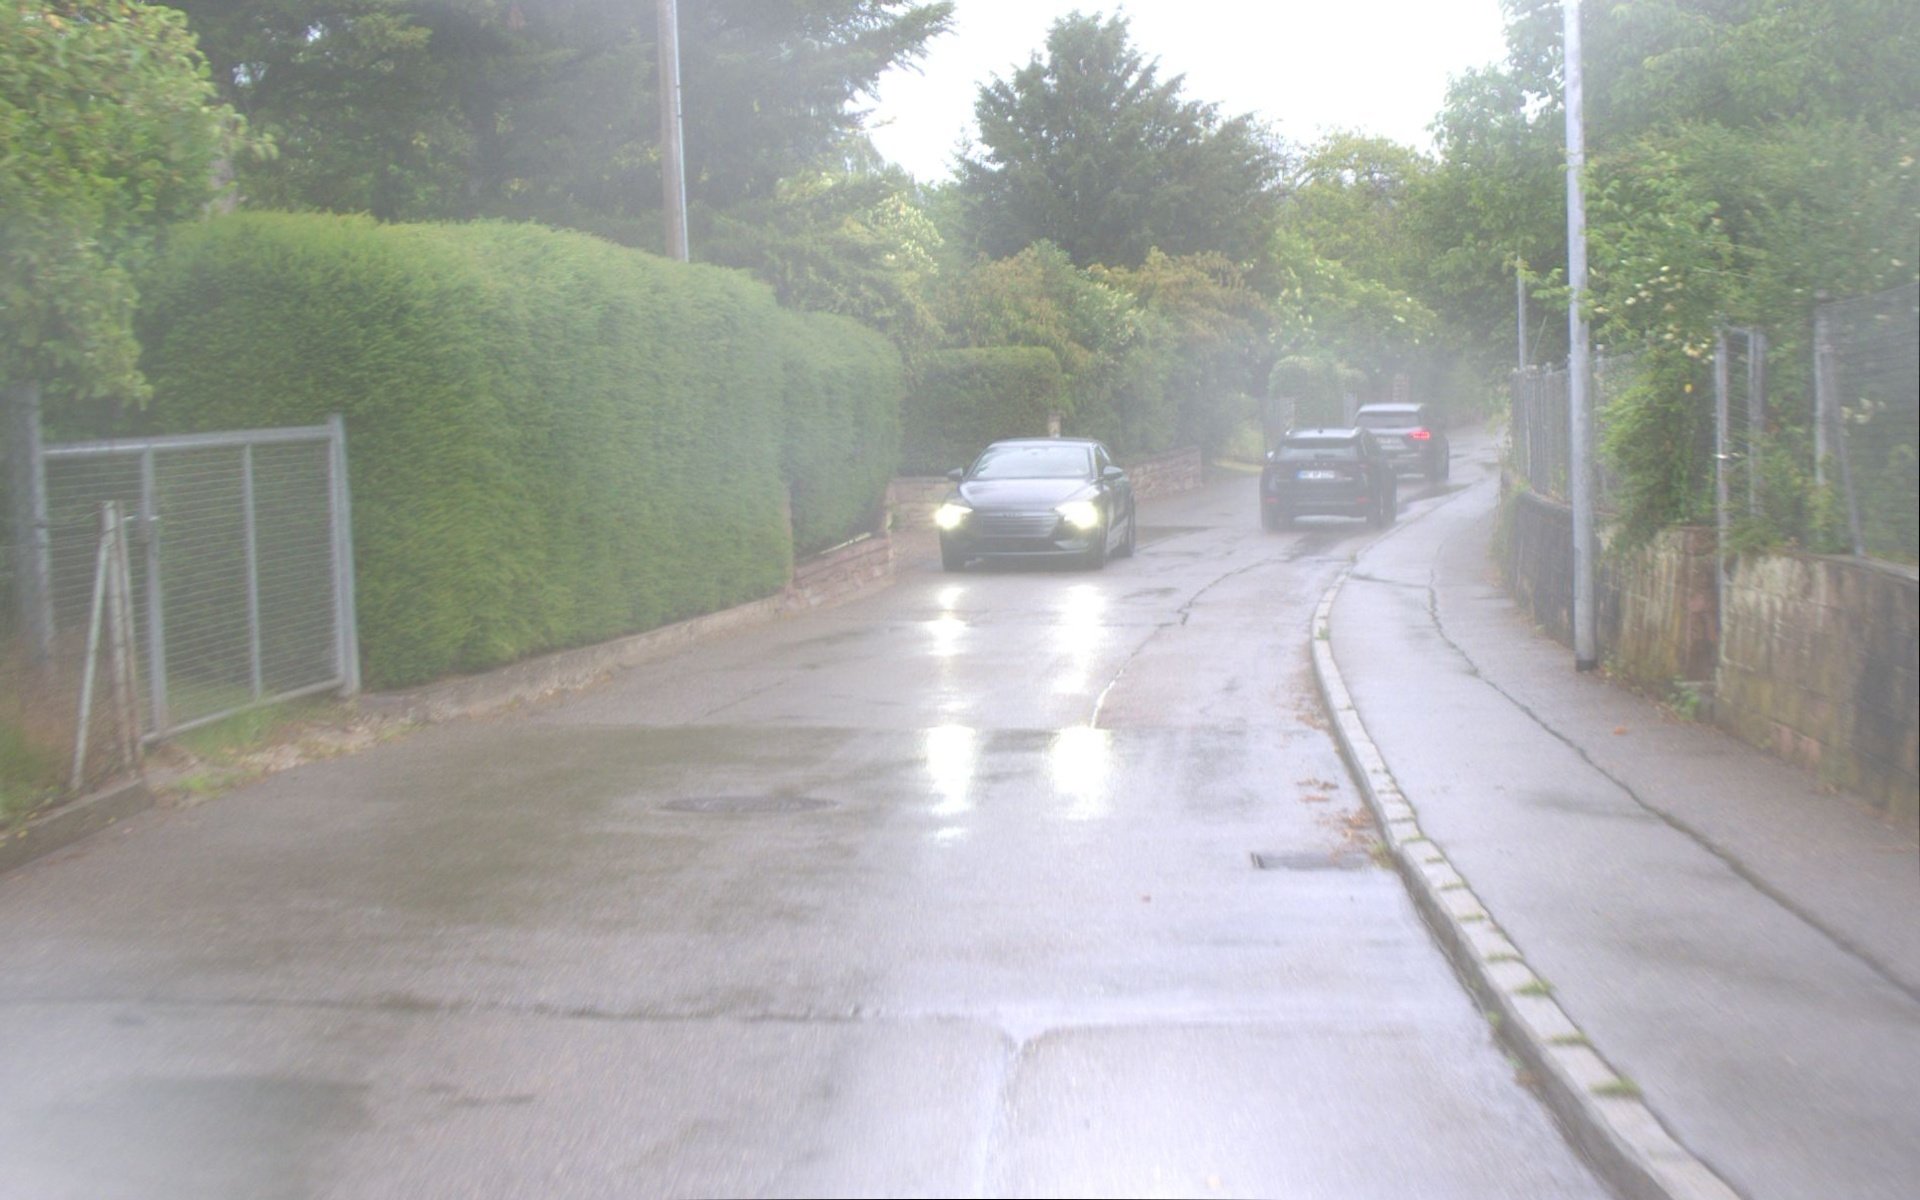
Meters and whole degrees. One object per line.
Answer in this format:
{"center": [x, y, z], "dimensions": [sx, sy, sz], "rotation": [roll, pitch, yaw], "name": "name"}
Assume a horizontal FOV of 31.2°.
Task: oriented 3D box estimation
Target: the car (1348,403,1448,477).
{"center": [8.577, -3.138, 67.087], "dimensions": [1.635, 1.409, 3.543], "rotation": [1, 3, 12], "name": "car"}

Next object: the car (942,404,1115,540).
{"center": [0.881, -1.582, 41.369], "dimensions": [1.889, 1.518, 4.422], "rotation": [0, 3, 4], "name": "car"}

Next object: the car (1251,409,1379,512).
{"center": [5.250, -2.077, 50.593], "dimensions": [1.635, 1.445, 3.544], "rotation": [1, 3, 10], "name": "car"}
